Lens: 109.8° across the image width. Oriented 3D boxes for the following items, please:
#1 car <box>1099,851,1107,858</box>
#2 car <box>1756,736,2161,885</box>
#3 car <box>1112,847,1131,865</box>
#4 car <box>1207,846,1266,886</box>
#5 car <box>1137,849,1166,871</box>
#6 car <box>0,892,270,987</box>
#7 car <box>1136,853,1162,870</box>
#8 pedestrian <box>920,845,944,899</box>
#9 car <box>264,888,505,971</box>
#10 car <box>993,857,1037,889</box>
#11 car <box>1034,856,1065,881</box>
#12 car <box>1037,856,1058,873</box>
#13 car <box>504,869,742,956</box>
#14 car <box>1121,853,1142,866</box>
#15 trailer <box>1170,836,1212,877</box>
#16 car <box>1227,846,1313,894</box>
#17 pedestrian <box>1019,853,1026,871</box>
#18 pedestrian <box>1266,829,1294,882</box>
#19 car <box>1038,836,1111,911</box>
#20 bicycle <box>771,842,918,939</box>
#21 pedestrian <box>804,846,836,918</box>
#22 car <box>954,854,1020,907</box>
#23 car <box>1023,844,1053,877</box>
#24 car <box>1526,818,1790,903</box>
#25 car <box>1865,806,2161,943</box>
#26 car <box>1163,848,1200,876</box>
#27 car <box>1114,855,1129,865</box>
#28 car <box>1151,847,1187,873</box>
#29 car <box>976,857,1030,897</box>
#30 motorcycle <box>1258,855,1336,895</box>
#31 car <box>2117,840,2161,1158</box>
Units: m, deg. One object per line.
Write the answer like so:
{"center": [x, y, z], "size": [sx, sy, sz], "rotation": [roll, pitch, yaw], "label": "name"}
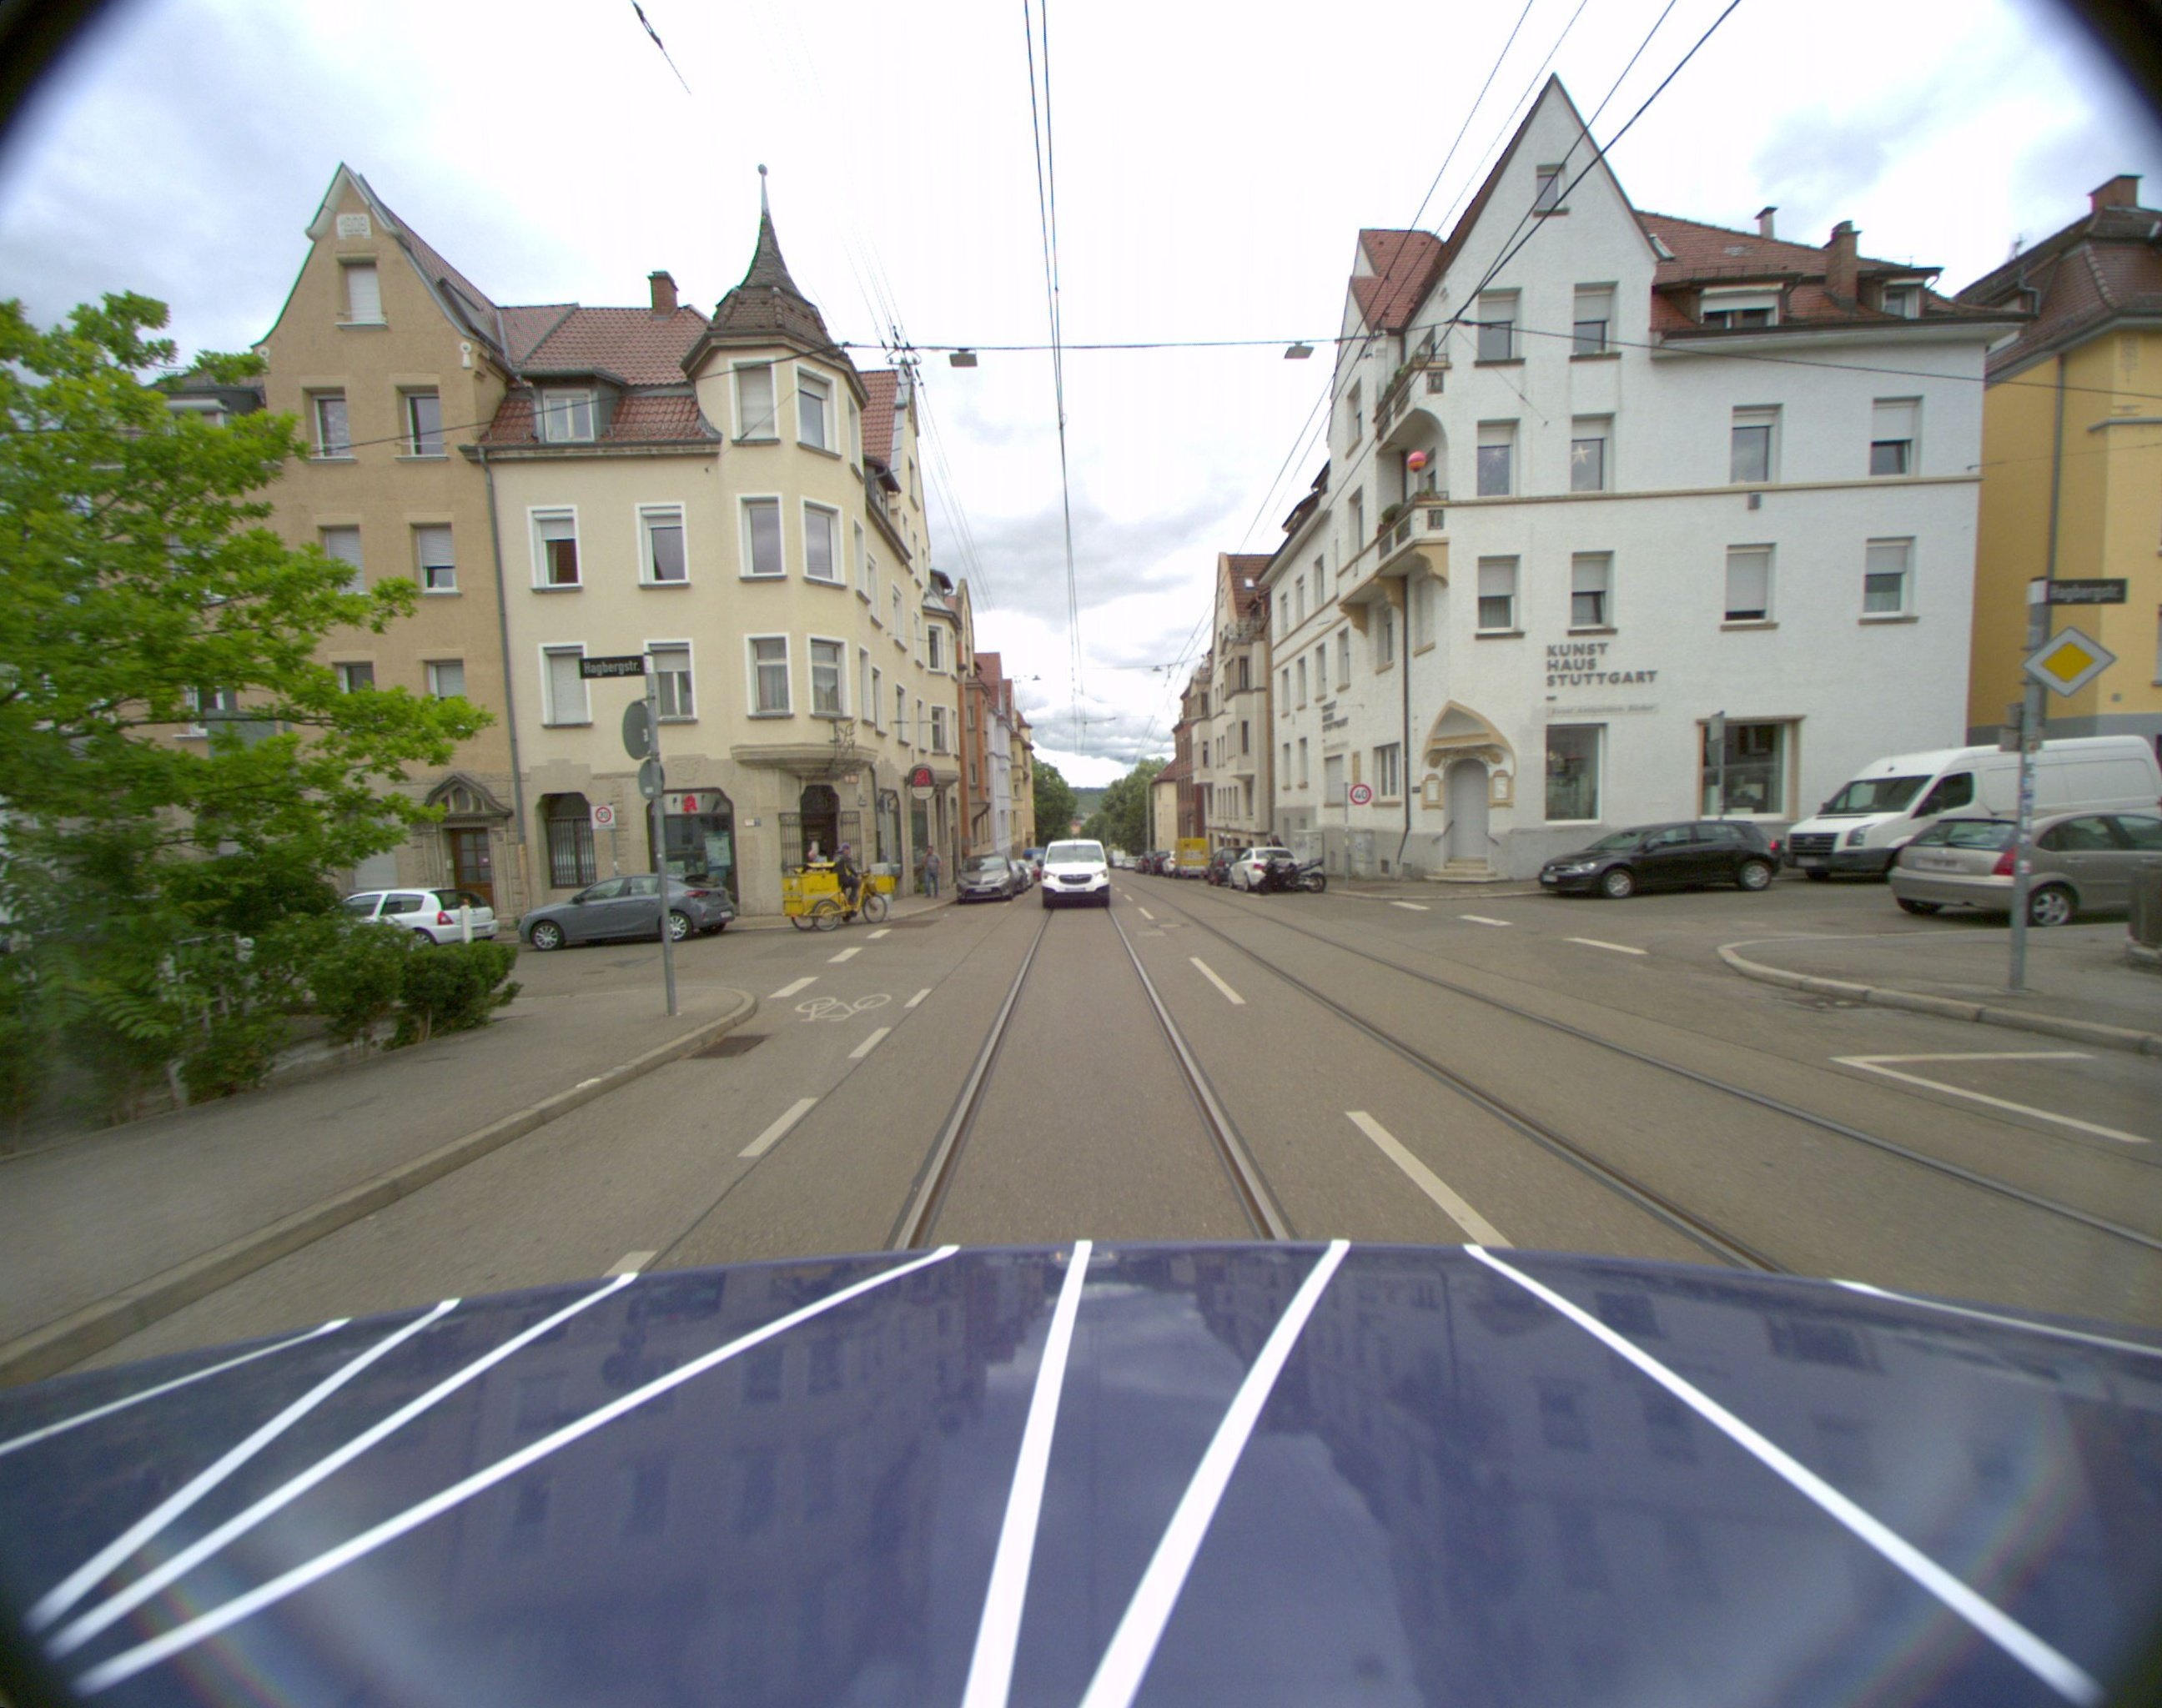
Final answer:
{"center": [5.323, 0.189, 187.732], "size": [1.856, 1.531, 3.948], "rotation": [-2, 0, 0], "label": "car"}
{"center": [17.897, -0.839, 15.463], "size": [6.207, 2.517, 2.191], "rotation": [-3, 1, 2], "label": "car"}
{"center": [5.945, 0.278, 112.580], "size": [2.164, 2.591, 6.218], "rotation": [1, 0, -2], "label": "car"}
{"center": [6.053, 0.442, 29.853], "size": [1.701, 1.460, 3.023], "rotation": [0, 0, 0], "label": "car"}
{"center": [5.516, 0.482, 59.872], "size": [1.832, 1.708, 4.913], "rotation": [0, 0, 0], "label": "car"}
{"center": [-19.548, 1.710, 15.569], "size": [3.985, 1.572, 1.580], "rotation": [-3, 1, -2], "label": "car"}
{"center": [5.896, 0.658, 66.112], "size": [1.832, 1.420, 4.839], "rotation": [0, 0, 0], "label": "car"}
{"center": [-5.084, 0.610, 25.916], "size": [0.600, 1.792, 0.631], "rotation": [-2, 1, 0], "label": "pedestrian"}
{"center": [-14.423, 1.524, 15.888], "size": [3.442, 1.381, 1.580], "rotation": [-3, 0, -2], "label": "car"}
{"center": [-3.195, 0.888, 37.483], "size": [1.755, 1.382, 4.307], "rotation": [-4, 0, -1], "label": "car"}
{"center": [-2.054, 0.924, 50.435], "size": [1.784, 1.466, 4.589], "rotation": [-4, 0, 0], "label": "car"}
{"center": [-3.335, 1.027, 77.235], "size": [1.832, 1.510, 4.028], "rotation": [-4, 0, 0], "label": "car"}
{"center": [-9.327, 1.155, 15.712], "size": [3.857, 1.455, 1.580], "rotation": [-3, 1, -2], "label": "car"}
{"center": [5.567, 0.603, 84.181], "size": [1.832, 1.420, 4.627], "rotation": [2, 0, -2], "label": "car"}
{"center": [5.942, 0.152, 41.427], "size": [1.753, 2.143, 4.071], "rotation": [0, 0, 0], "label": "trailer"}
{"center": [6.042, 0.475, 24.737], "size": [1.784, 1.349, 4.291], "rotation": [-2, 0, 1], "label": "car"}
{"center": [-5.439, 0.755, 71.060], "size": [0.542, 1.673, 0.516], "rotation": [2, 3, -8], "label": "pedestrian"}
{"center": [7.390, 0.050, 28.260], "size": [0.590, 1.895, 0.811], "rotation": [-7, 1, 0], "label": "pedestrian"}
{"center": [-0.117, 0.489, 21.261], "size": [1.759, 1.824, 4.448], "rotation": [-2, 0, 1], "label": "car"}
{"center": [-5.054, 0.723, 16.439], "size": [1.179, 1.855, 2.734], "rotation": [-2, 1, 42], "label": "bicycle"}
{"center": [-6.534, 0.690, 19.032], "size": [0.483, 1.757, 0.493], "rotation": [-2, 1, 34], "label": "pedestrian"}
{"center": [-3.106, 0.816, 25.880], "size": [1.740, 1.528, 4.573], "rotation": [-4, 0, -2], "label": "car"}
{"center": [-3.314, 0.463, 59.432], "size": [1.999, 2.362, 5.055], "rotation": [-2, 1, 0], "label": "car"}
{"center": [11.684, 0.115, 15.598], "size": [3.997, 1.455, 1.754], "rotation": [-3, 1, 2], "label": "car"}
{"center": [13.421, 0.205, 10.370], "size": [3.523, 1.485, 1.775], "rotation": [-3, 6, 0], "label": "car"}
{"center": [5.948, 0.444, 45.273], "size": [1.701, 1.584, 4.268], "rotation": [0, 0, 0], "label": "car"}
{"center": [5.400, 0.793, 102.110], "size": [1.723, 1.394, 4.313], "rotation": [1, 0, 0], "label": "car"}
{"center": [5.881, 0.423, 51.400], "size": [1.878, 1.654, 4.892], "rotation": [0, 0, 0], "label": "car"}
{"center": [-3.129, 0.902, 31.351], "size": [1.784, 1.382, 4.691], "rotation": [-4, 0, -1], "label": "car"}
{"center": [6.140, 0.591, 21.688], "size": [2.111, 1.127, 0.767], "rotation": [-1, 0, 14], "label": "motorcycle"}
{"center": [6.062, 0.686, 1.906], "size": [1.701, 1.547, 3.850], "rotation": [-2, 0, 1], "label": "car"}
